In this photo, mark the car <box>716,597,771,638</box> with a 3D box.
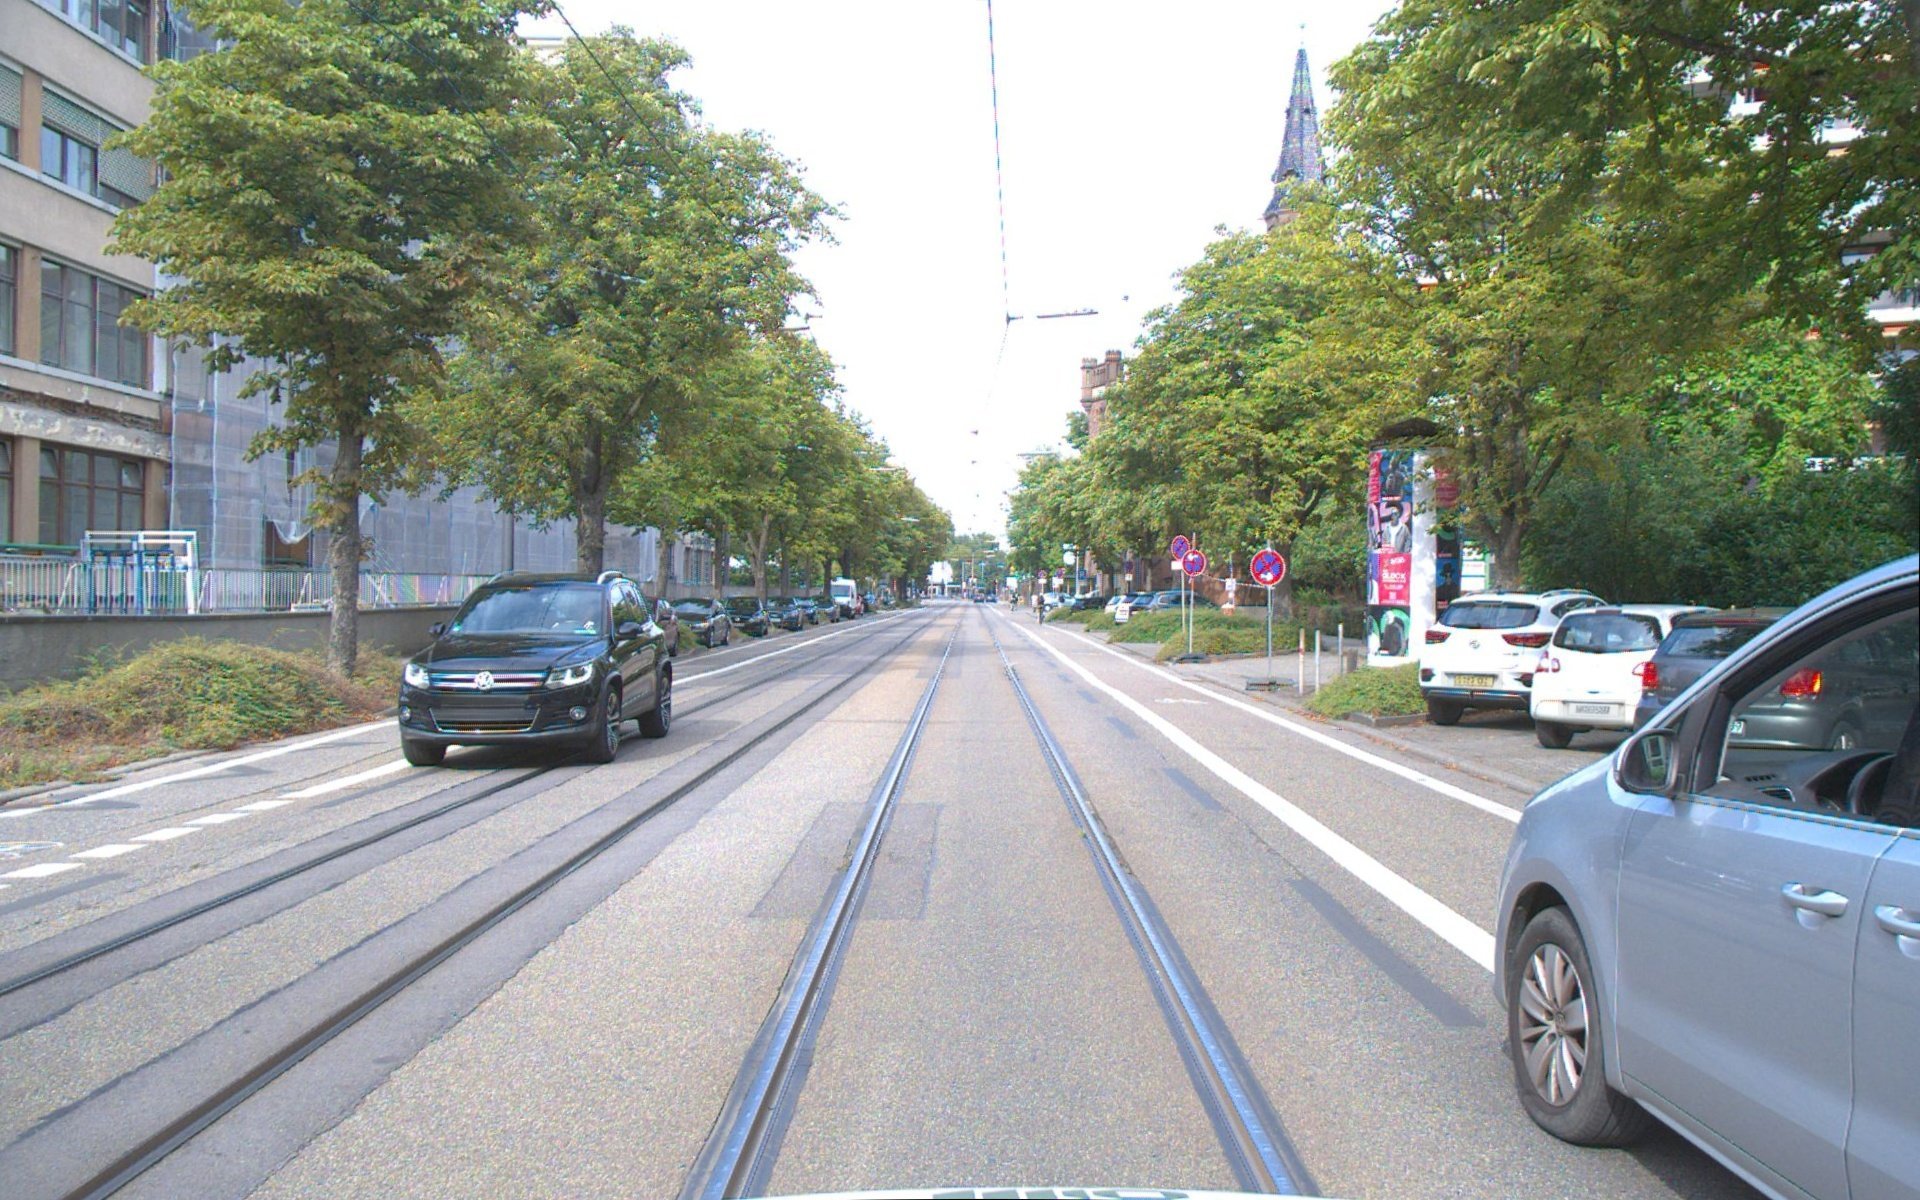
[{"bbox_3d":[-7.886,0.627,60.467,1.558,1.427,3.961,1,0,-2],"label":"car"}]

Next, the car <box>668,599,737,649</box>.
[{"bbox_3d":[-7.772,0.691,50.162,1.558,1.427,3.961,1,0,-2],"label":"car"}]

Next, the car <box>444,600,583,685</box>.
[{"bbox_3d":[-8.097,0.727,30.295,1.558,1.427,3.961,1,0,-2],"label":"car"}]

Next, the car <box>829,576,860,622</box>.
[{"bbox_3d":[-7.261,-0.060,104.173,1.686,2.751,5.468,1,0,-2],"label":"car"}]

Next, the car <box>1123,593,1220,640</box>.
[{"bbox_3d":[7.668,0.600,59.739,1.654,1.630,3.621,0,0,44],"label":"car"}]

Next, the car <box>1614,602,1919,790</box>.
[{"bbox_3d":[7.461,0.762,14.552,3.611,1.444,1.658,1,0,-40],"label":"car"}]

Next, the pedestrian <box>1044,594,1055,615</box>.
[{"bbox_3d":[7.718,0.399,142.836,0.732,1.821,0.731,0,-1,15],"label":"pedestrian"}]

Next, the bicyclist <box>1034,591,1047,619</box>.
[{"bbox_3d":[4.320,0.254,88.750,0.581,1.485,0.875,1,0,-2],"label":"bicyclist"}]

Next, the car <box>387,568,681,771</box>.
[{"bbox_3d":[-3.882,0.563,15.844,1.697,1.657,4.378,-1,0,0],"label":"car"}]

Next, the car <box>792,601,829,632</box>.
[{"bbox_3d":[-7.297,0.790,80.988,1.558,1.427,3.961,1,0,-2],"label":"car"}]

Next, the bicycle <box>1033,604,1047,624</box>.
[{"bbox_3d":[4.310,0.741,88.748,0.581,1.062,1.977,1,0,-2],"label":"bicycle"}]

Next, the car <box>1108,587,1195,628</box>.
[{"bbox_3d":[7.725,0.311,66.541,1.654,1.630,3.621,0,0,44],"label":"car"}]

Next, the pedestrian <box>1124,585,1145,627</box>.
[{"bbox_3d":[7.721,0.267,73.176,0.769,1.858,0.662,1,0,20],"label":"pedestrian"}]

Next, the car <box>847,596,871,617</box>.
[{"bbox_3d":[-7.143,0.458,117.021,1.558,1.427,3.961,1,0,-2],"label":"car"}]

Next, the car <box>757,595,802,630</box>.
[{"bbox_3d":[-7.685,0.534,70.768,1.558,1.427,3.961,1,0,-2],"label":"car"}]

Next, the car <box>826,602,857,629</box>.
[{"bbox_3d":[-6.510,0.858,91.186,1.558,1.427,3.961,1,0,-2],"label":"car"}]

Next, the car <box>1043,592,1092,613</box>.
[{"bbox_3d":[9.261,0.209,142.914,3.909,1.722,1.998,1,0,-5],"label":"car"}]

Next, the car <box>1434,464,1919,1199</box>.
[{"bbox_3d":[2.608,0.630,3.228,1.776,1.730,4.614,1,0,-4],"label":"car"}]

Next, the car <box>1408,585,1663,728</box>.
[{"bbox_3d":[7.253,0.661,20.694,1.654,1.630,3.621,0,0,44],"label":"car"}]

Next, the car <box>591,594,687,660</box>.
[{"bbox_3d":[-7.893,0.627,40.955,1.602,1.522,3.962,1,0,-1],"label":"car"}]

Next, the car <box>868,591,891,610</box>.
[{"bbox_3d":[-6.317,0.042,129.980,1.558,1.427,3.550,1,0,0],"label":"car"}]

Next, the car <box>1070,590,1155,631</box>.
[{"bbox_3d":[6.352,0.436,68.677,1.654,1.630,3.621,0,0,44],"label":"car"}]

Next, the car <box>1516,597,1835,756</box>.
[{"bbox_3d":[7.615,0.741,17.480,3.611,1.500,1.658,1,0,-40],"label":"car"}]
